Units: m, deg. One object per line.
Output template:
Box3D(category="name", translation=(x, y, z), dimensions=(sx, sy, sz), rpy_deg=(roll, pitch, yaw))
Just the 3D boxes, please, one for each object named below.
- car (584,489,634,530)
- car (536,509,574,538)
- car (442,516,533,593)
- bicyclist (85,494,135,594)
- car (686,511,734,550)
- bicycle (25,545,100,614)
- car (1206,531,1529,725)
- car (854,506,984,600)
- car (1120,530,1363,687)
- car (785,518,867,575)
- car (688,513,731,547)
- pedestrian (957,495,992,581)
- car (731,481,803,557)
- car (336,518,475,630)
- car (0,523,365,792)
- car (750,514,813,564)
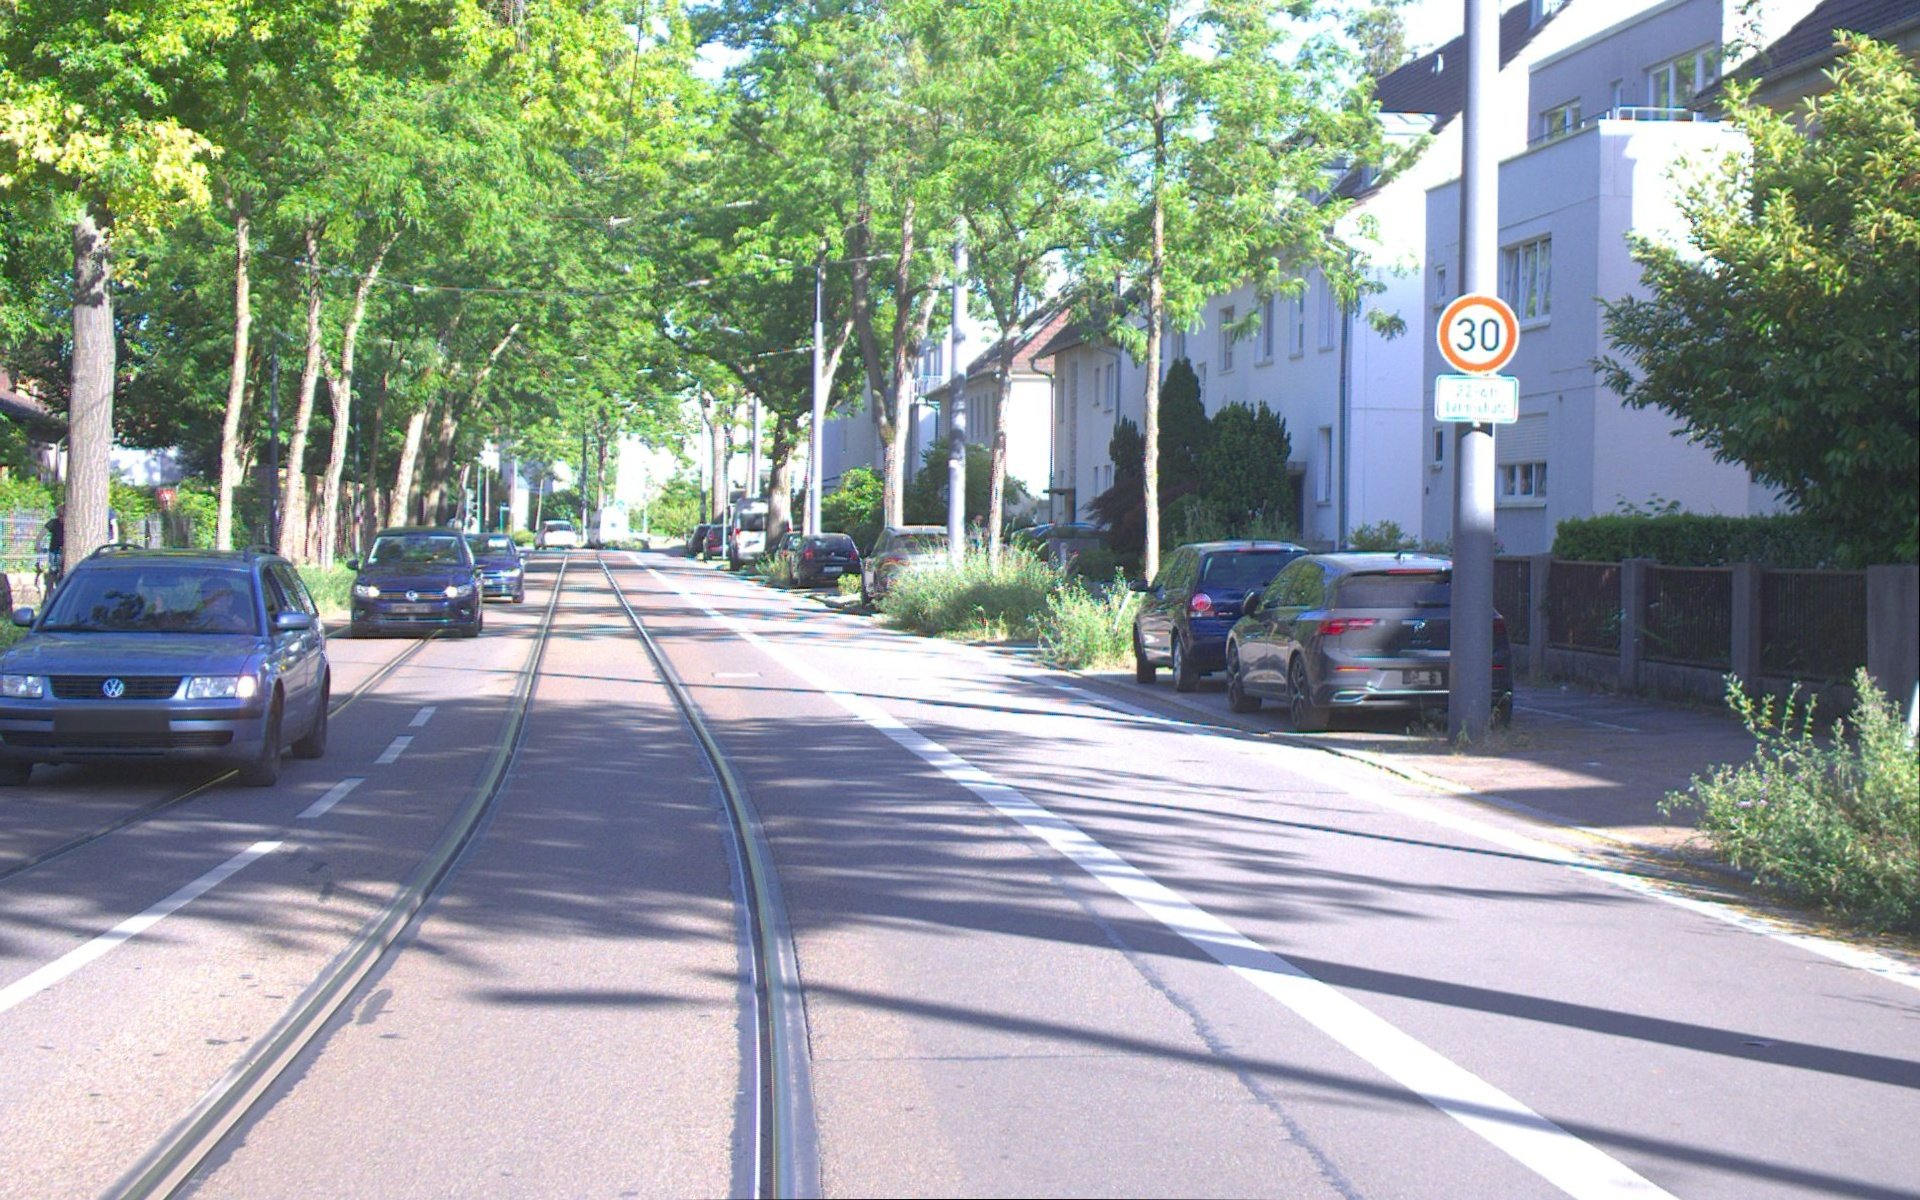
Box3D(category="car", translation=(-21.004, -5.407, 205.780), dimensions=(1.993, 2.449, 4.510), rpy_deg=(0, 1, -19))
Box3D(category="car", translation=(-22.999, -4.343, 195.115), dimensions=(1.865, 1.669, 4.174), rpy_deg=(0, 1, -11))
Box3D(category="car", translation=(-9.746, -0.956, 71.114), dimensions=(1.748, 1.519, 4.071), rpy_deg=(1, 1, -6))
Box3D(category="bicyclist", translation=(-13.099, -0.873, 52.987), dimensions=(0.593, 1.522, 1.061), rpy_deg=(0, 1, -5))
Box3D(category="car", translation=(-11.398, -3.173, 156.472), dimensions=(2.002, 1.669, 4.393), rpy_deg=(-1, 1, -6))
Box3D(category="bicycle", translation=(-12.940, -0.306, 49.628), dimensions=(0.711, 0.957, 2.095), rpy_deg=(0, 1, -5))
Box3D(category="car", translation=(3.344, 0.172, 29.066), dimensions=(1.748, 1.490, 4.444), rpy_deg=(0, 1, -6))
Box3D(category="car", translation=(-0.845, -0.947, 67.242), dimensions=(1.993, 1.698, 4.478), rpy_deg=(-2, 2, -7))
Box3D(category="car", translation=(2.816, 0.042, 35.167), dimensions=(1.748, 1.490, 3.997), rpy_deg=(0, 1, -6))
Box3D(category="car", translation=(-3.671, -1.471, 93.677), dimensions=(1.783, 1.443, 4.302), rpy_deg=(-2, 2, -8))
Box3D(category="car", translation=(-12.675, -3.562, 173.950), dimensions=(2.002, 1.669, 4.393), rpy_deg=(-1, 1, -2))
Box3D(category="pedestrian", translation=(0.315, -1.375, 75.855), dimensions=(0.625, 1.864, 0.732), rpy_deg=(-2, 2, -7))
Box3D(category="car", translation=(-7.025, -2.942, 124.668), dimensions=(2.245, 2.645, 5.587), rpy_deg=(-1, 1, -6))
Box3D(category="car", translation=(-7.908, -0.403, 49.326), dimensions=(1.748, 1.519, 4.036), rpy_deg=(1, 1, -6))
Box3D(category="car", translation=(-5.119, 0.281, 22.073), dimensions=(1.993, 1.519, 4.580), rpy_deg=(1, 1, -3))
Box3D(category="car", translation=(-5.373, -1.839, 103.191), dimensions=(1.626, 1.393, 3.646), rpy_deg=(-2, 2, -6))
